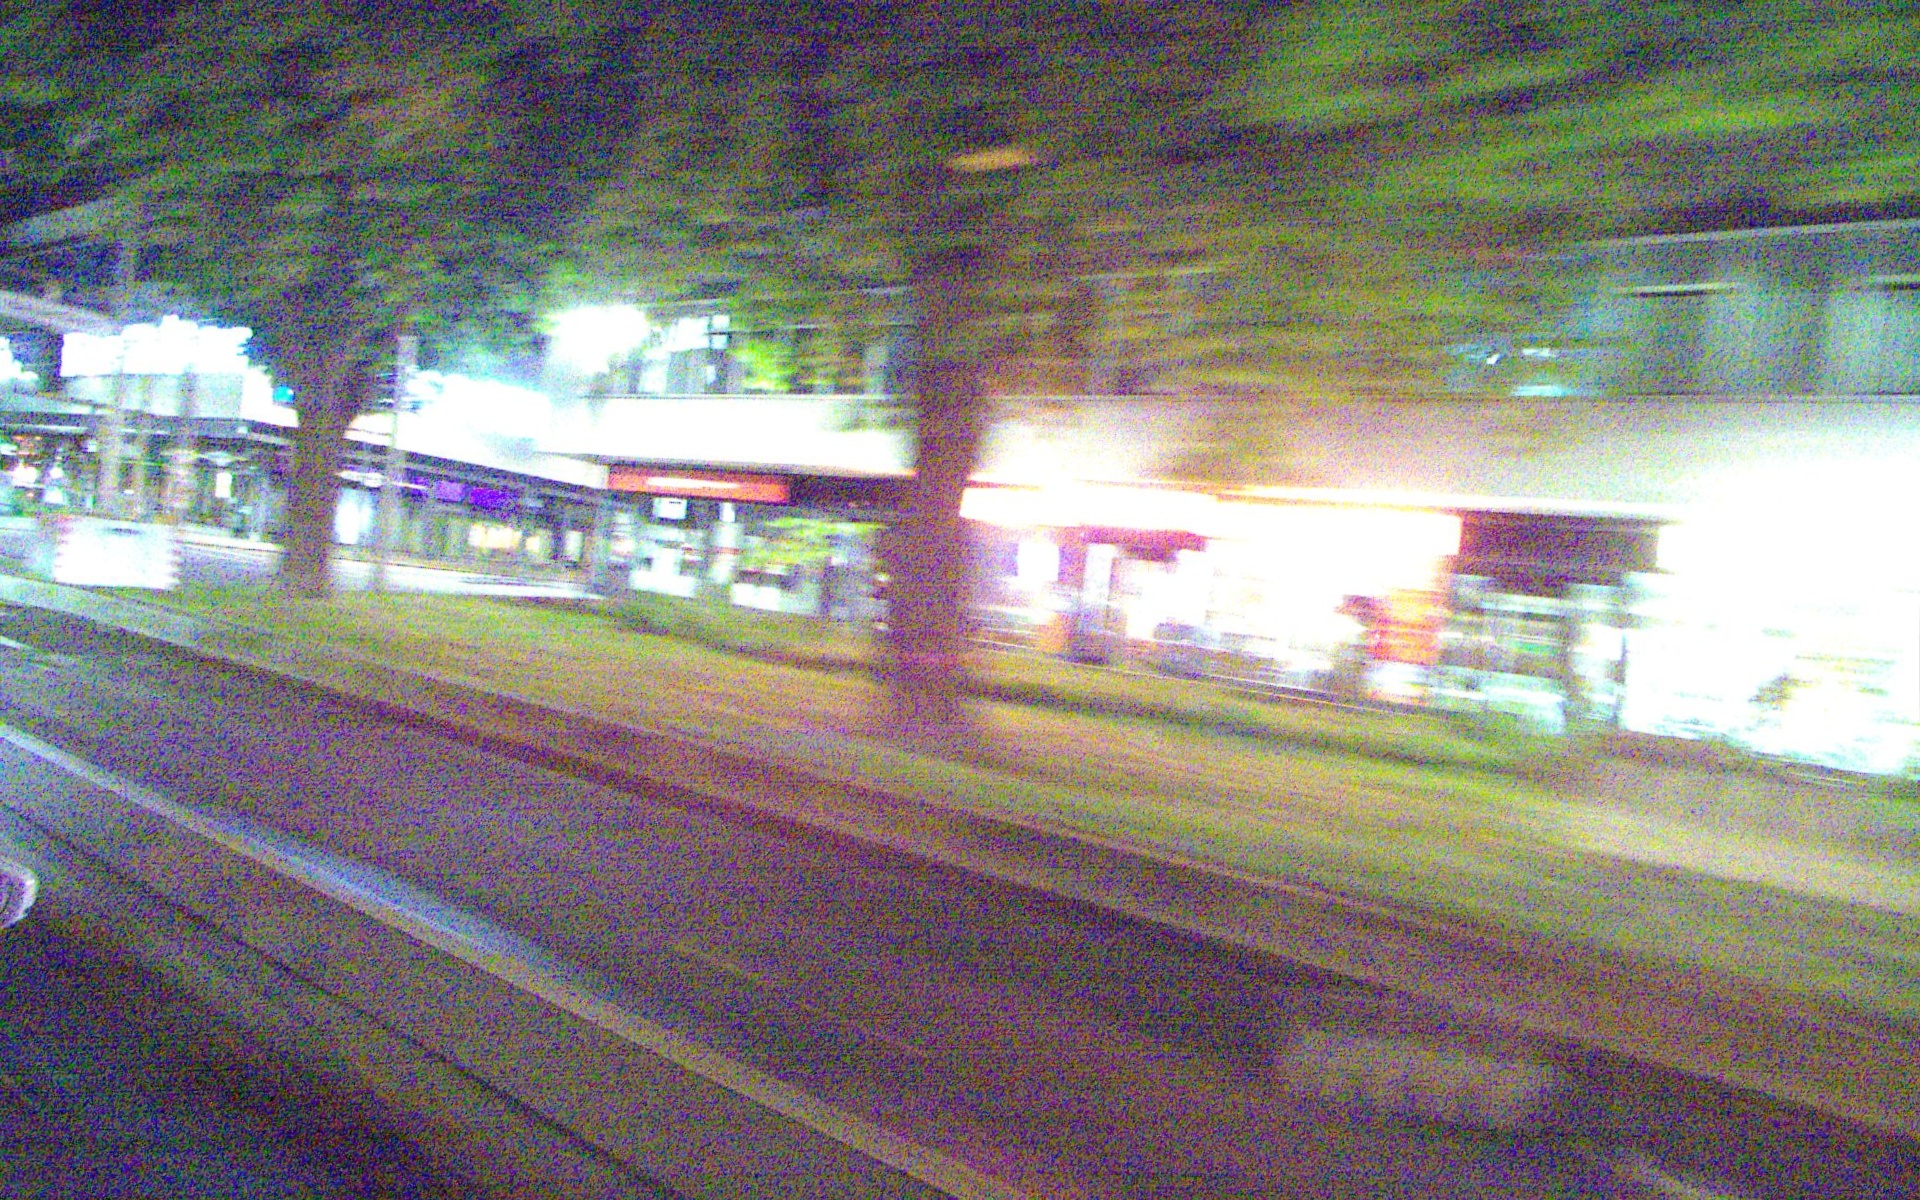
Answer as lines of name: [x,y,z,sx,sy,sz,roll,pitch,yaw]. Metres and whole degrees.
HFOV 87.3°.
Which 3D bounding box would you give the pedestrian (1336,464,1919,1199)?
pedestrian: [1.700,0.644,2.591,1.064,1.842,0.703,7,2,32]
